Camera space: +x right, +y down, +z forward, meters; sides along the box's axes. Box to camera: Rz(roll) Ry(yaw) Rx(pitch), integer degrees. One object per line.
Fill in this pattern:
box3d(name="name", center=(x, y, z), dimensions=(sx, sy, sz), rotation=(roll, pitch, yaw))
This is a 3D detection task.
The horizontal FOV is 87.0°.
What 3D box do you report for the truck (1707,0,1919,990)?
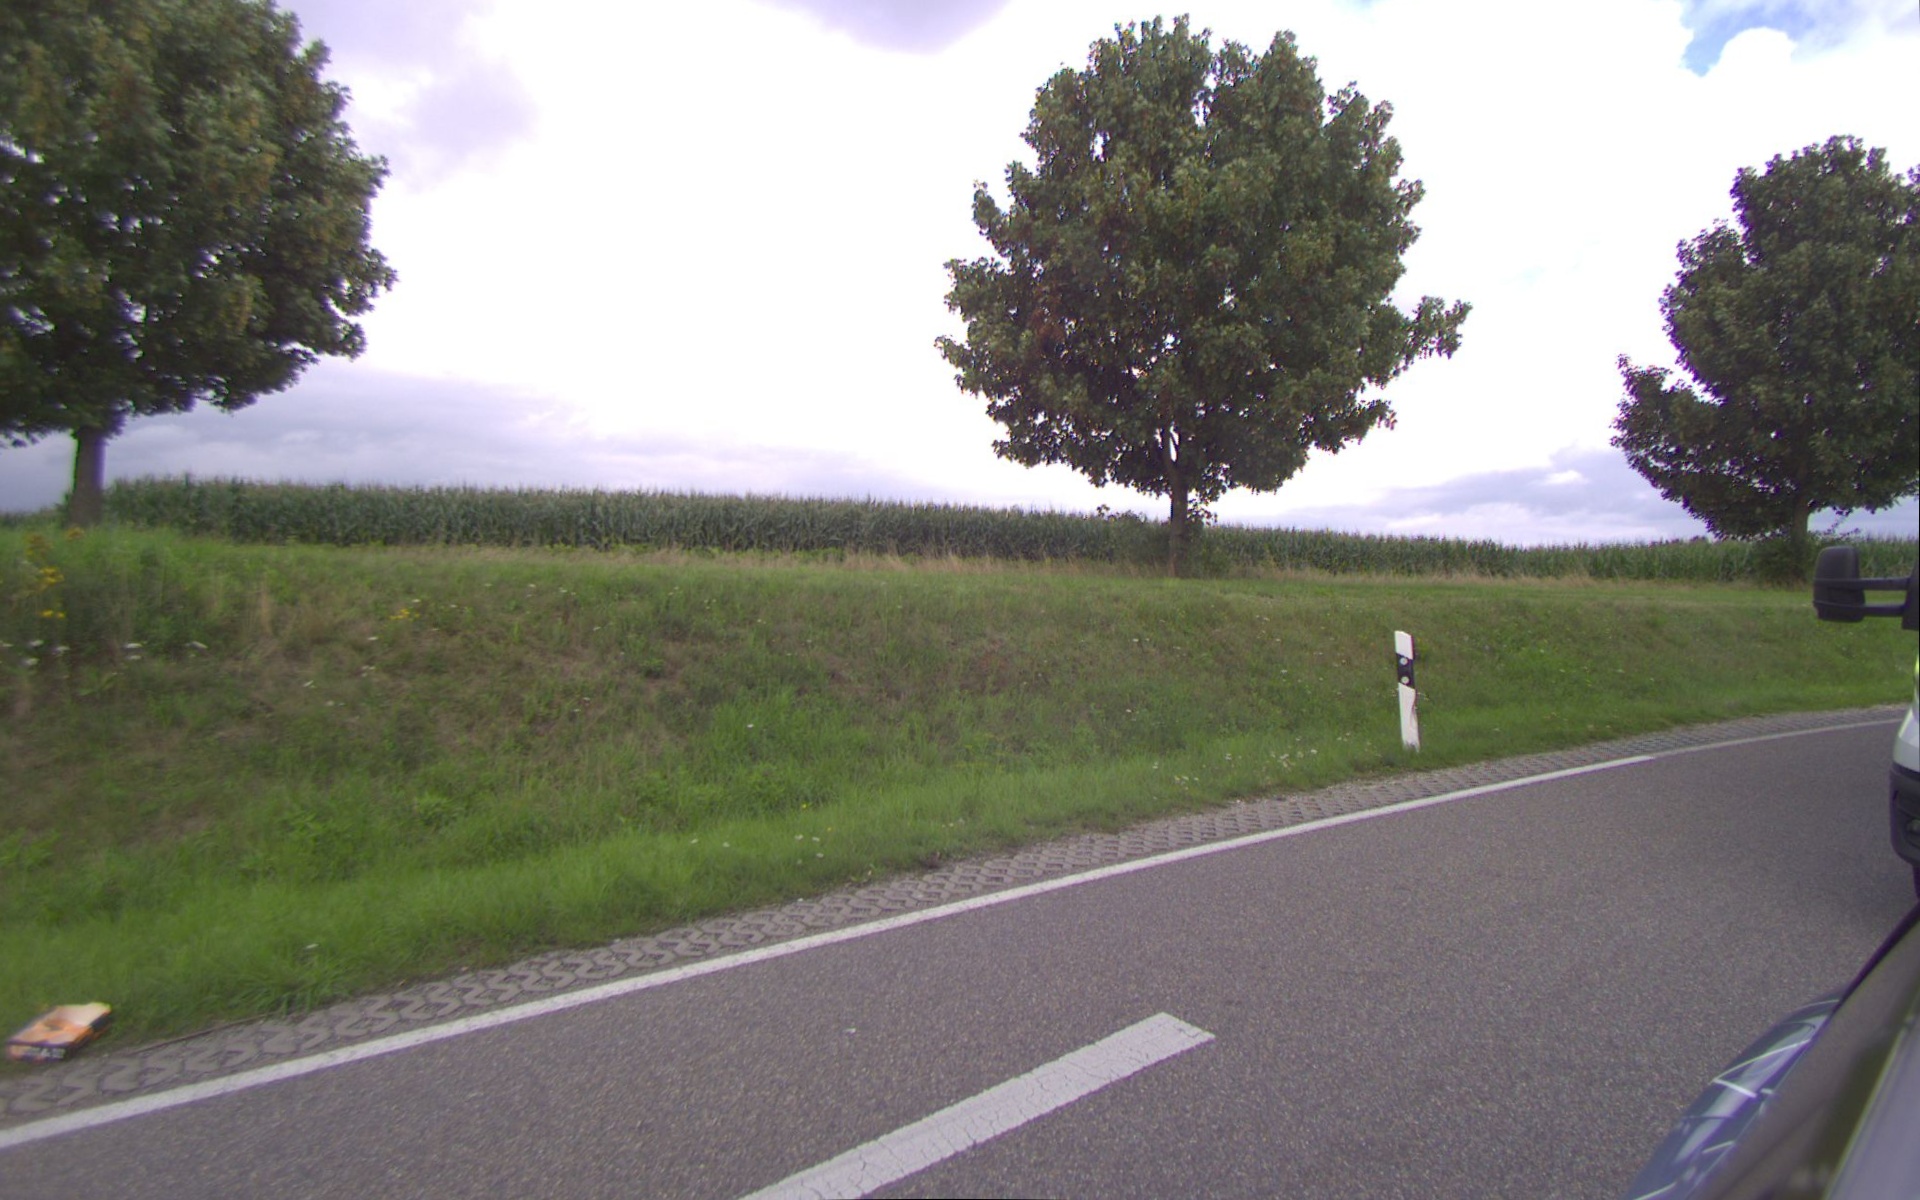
box3d(name="truck", center=(7.550, -0.553, 5.396), dimensions=(8.629, 3.810, 2.841), rotation=(-2, 2, -33))
